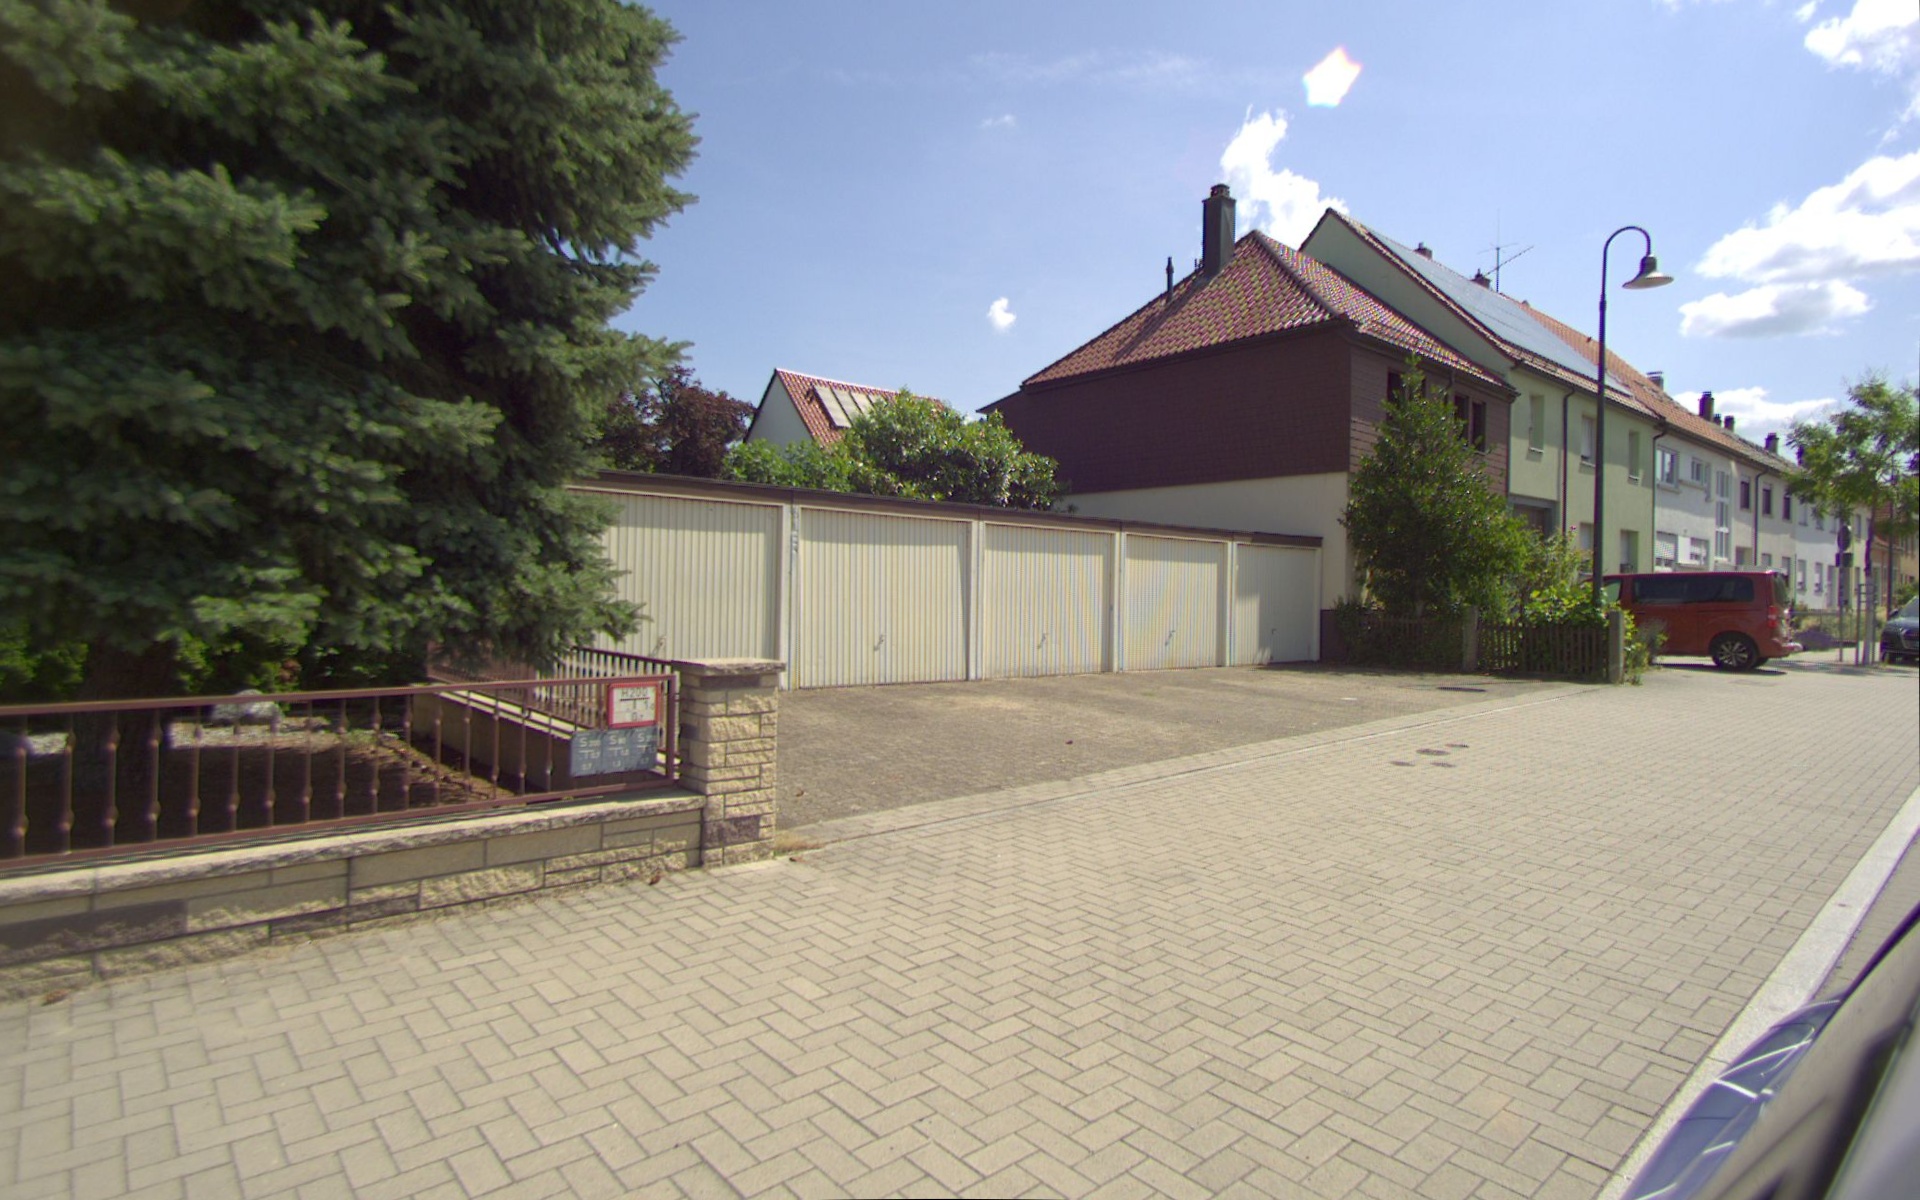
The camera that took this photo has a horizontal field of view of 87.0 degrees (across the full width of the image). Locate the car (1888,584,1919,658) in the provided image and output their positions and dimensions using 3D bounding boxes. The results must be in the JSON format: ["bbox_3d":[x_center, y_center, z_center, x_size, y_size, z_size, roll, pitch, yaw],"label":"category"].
[{"bbox_3d":[23.557,0.533,23.799,4.366,1.655,1.869,1,3,-39],"label":"car"}]

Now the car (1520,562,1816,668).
[{"bbox_3d":[14.260,0.250,20.597,1.986,1.917,4.625,-1,1,-42],"label":"car"}]
